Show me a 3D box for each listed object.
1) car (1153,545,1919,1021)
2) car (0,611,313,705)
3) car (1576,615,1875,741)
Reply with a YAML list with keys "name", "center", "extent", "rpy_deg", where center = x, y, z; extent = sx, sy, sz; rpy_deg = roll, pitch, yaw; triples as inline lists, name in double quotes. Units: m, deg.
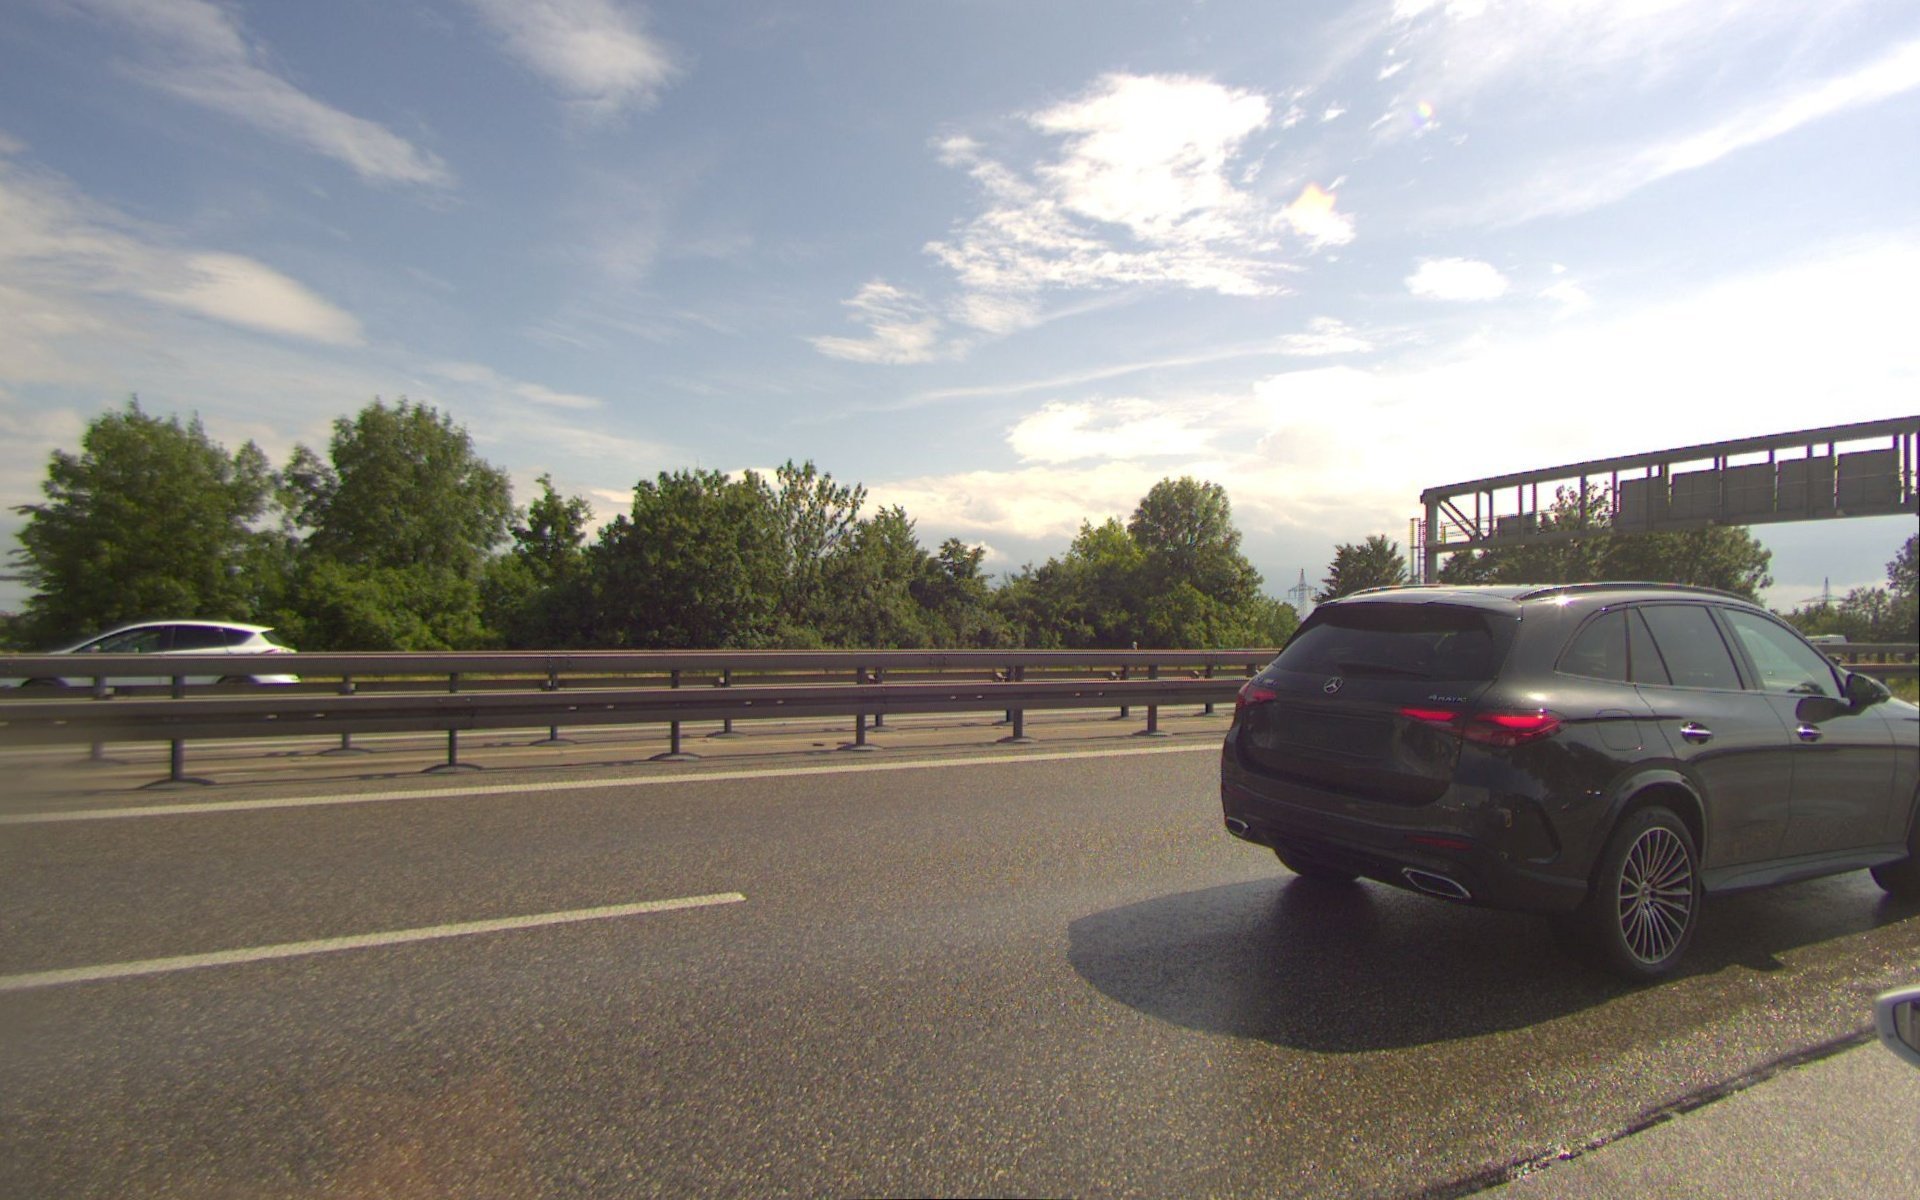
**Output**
- name: "car"
  center: [3.406, 0.705, 5.471]
  extent: [4.351, 1.683, 1.985]
  rpy_deg: [2, -1, -28]
- name: "car"
  center: [-14.696, 0.991, 18.100]
  extent: [4.978, 1.507, 2.107]
  rpy_deg: [1, -1, -30]
- name: "car"
  center: [10.802, 1.017, 14.141]
  extent: [4.154, 1.537, 1.750]
  rpy_deg: [1, -1, -27]
